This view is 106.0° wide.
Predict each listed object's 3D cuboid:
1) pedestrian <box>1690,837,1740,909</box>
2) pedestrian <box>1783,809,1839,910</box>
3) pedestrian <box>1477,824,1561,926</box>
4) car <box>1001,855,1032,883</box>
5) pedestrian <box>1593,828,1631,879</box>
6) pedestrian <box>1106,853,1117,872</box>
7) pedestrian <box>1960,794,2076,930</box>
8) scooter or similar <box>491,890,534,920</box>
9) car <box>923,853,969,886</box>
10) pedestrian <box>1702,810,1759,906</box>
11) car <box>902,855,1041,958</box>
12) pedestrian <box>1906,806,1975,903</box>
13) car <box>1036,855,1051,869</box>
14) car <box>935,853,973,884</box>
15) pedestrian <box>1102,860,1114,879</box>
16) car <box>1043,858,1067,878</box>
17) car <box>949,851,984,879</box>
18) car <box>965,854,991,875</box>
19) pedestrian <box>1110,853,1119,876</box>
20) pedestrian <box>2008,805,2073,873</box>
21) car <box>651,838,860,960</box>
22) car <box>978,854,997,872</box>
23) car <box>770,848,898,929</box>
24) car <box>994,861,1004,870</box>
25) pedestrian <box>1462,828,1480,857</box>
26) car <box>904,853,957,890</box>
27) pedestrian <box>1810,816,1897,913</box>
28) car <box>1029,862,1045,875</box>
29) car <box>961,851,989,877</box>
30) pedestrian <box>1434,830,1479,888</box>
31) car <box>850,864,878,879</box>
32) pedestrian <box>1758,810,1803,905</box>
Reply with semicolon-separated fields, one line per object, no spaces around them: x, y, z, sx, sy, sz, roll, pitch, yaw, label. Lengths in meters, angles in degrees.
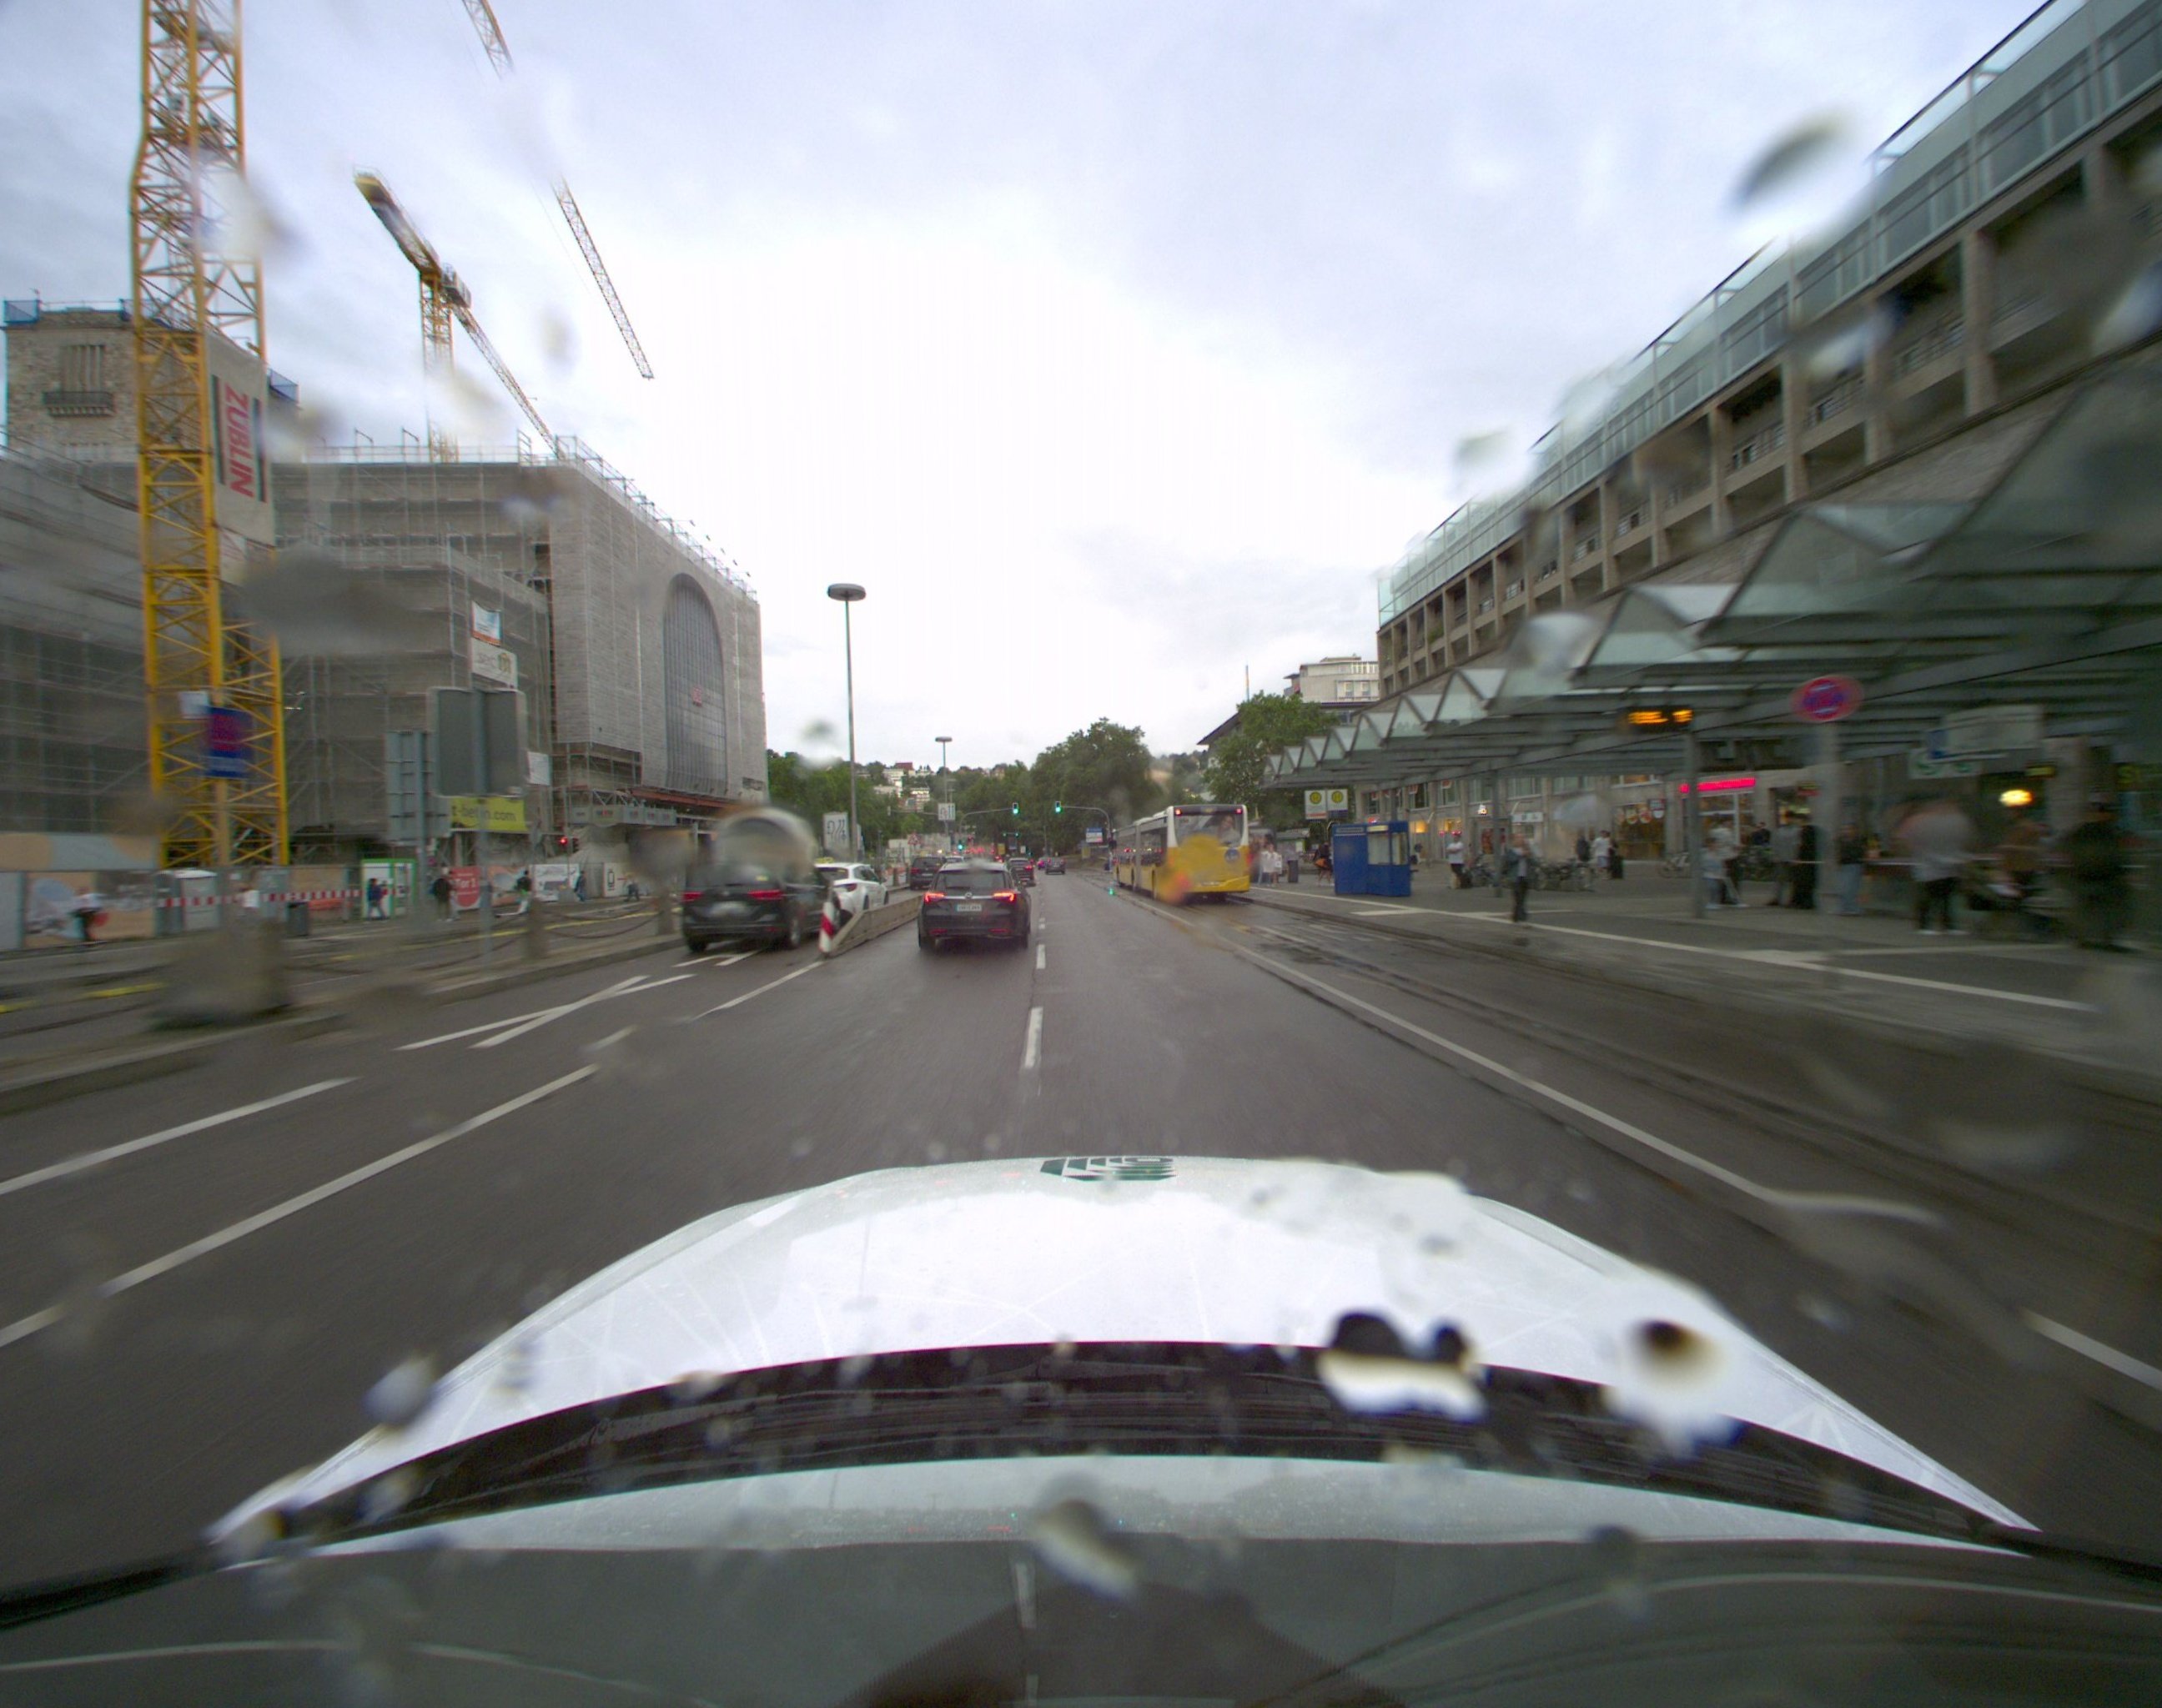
12.343;0.365;15.862;0.551;1.377;0.507;-2;0;-7;pedestrian
13.623;0.094;15.204;0.609;1.831;0.587;-1;0;-31;pedestrian
7.604;0.357;14.180;0.762;1.690;0.991;-1;0;-23;pedestrian
-4.131;0.931;52.300;1.827;1.686;4.127;-2;0;-4;car
18.180;-0.017;27.900;0.975;1.695;0.863;-2;0;38;pedestrian
2.920;0.781;77.330;0.747;1.804;0.705;-2;-1;-18;pedestrian
13.342;0.106;11.613;0.749;1.848;0.760;-2;0;-6;pedestrian
-21.539;1.924;30.857;0.454;1.066;1.248;-2;0;32;scooter or similar
-7.657;0.871;46.649;2.045;1.711;5.047;-2;0;-4;car
12.994;0.075;16.301;0.603;1.859;0.626;-2;0;7;pedestrian
-1.779;0.806;14.774;1.872;1.508;4.850;-2;0;-1;car
16.729;0.006;15.849;0.764;1.831;0.745;-1;0;-31;pedestrian
-4.350;0.972;94.130;1.671;1.581;3.235;-1;-1;-3;car
-8.049;0.899;51.827;1.990;1.787;4.447;-2;0;-5;car
2.670;1.513;80.213;0.788;1.838;0.945;-2;-1;-18;pedestrian
-2.289;1.201;70.308;1.849;1.717;3.993;-1;-1;-5;car
-8.085;0.749;57.833;1.990;1.787;4.841;-2;0;-4;car
-8.744;0.885;69.361;1.782;1.685;4.662;-2;0;-3;car
3.221;1.007;78.770;0.555;2.146;0.664;-2;-1;-18;pedestrian
24.814;-0.382;21.066;0.757;1.710;0.752;-2;0;-2;pedestrian
-5.817;0.719;15.334;1.988;1.862;4.830;-2;0;-1;car
-10.444;0.994;90.815;1.991;1.845;5.050;-1;-1;-7;car
-6.024;0.777;20.505;1.990;1.706;4.825;-2;0;-4;car
-16.107;2.215;159.628;1.706;1.665;3.694;-1;-1;-9;car
24.361;-0.701;50.883;0.650;1.792;0.789;-2;-1;2;pedestrian
-7.397;0.827;40.538;1.990;1.654;4.635;-2;0;-4;car
13.427;0.176;14.174;0.750;1.608;0.760;-2;0;-7;pedestrian
-5.879;1.929;108.382;1.901;1.717;3.993;-1;-1;-5;car
-8.217;0.786;63.288;1.710;1.892;4.604;-2;0;-3;car
11.997;0.172;26.016;0.791;1.804;0.983;-2;-1;-31;pedestrian
-23.020;1.833;86.449;1.989;1.468;3.996;-1;-1;-2;car
14.035;0.068;16.350;0.590;1.874;0.595;-2;0;35;pedestrian
